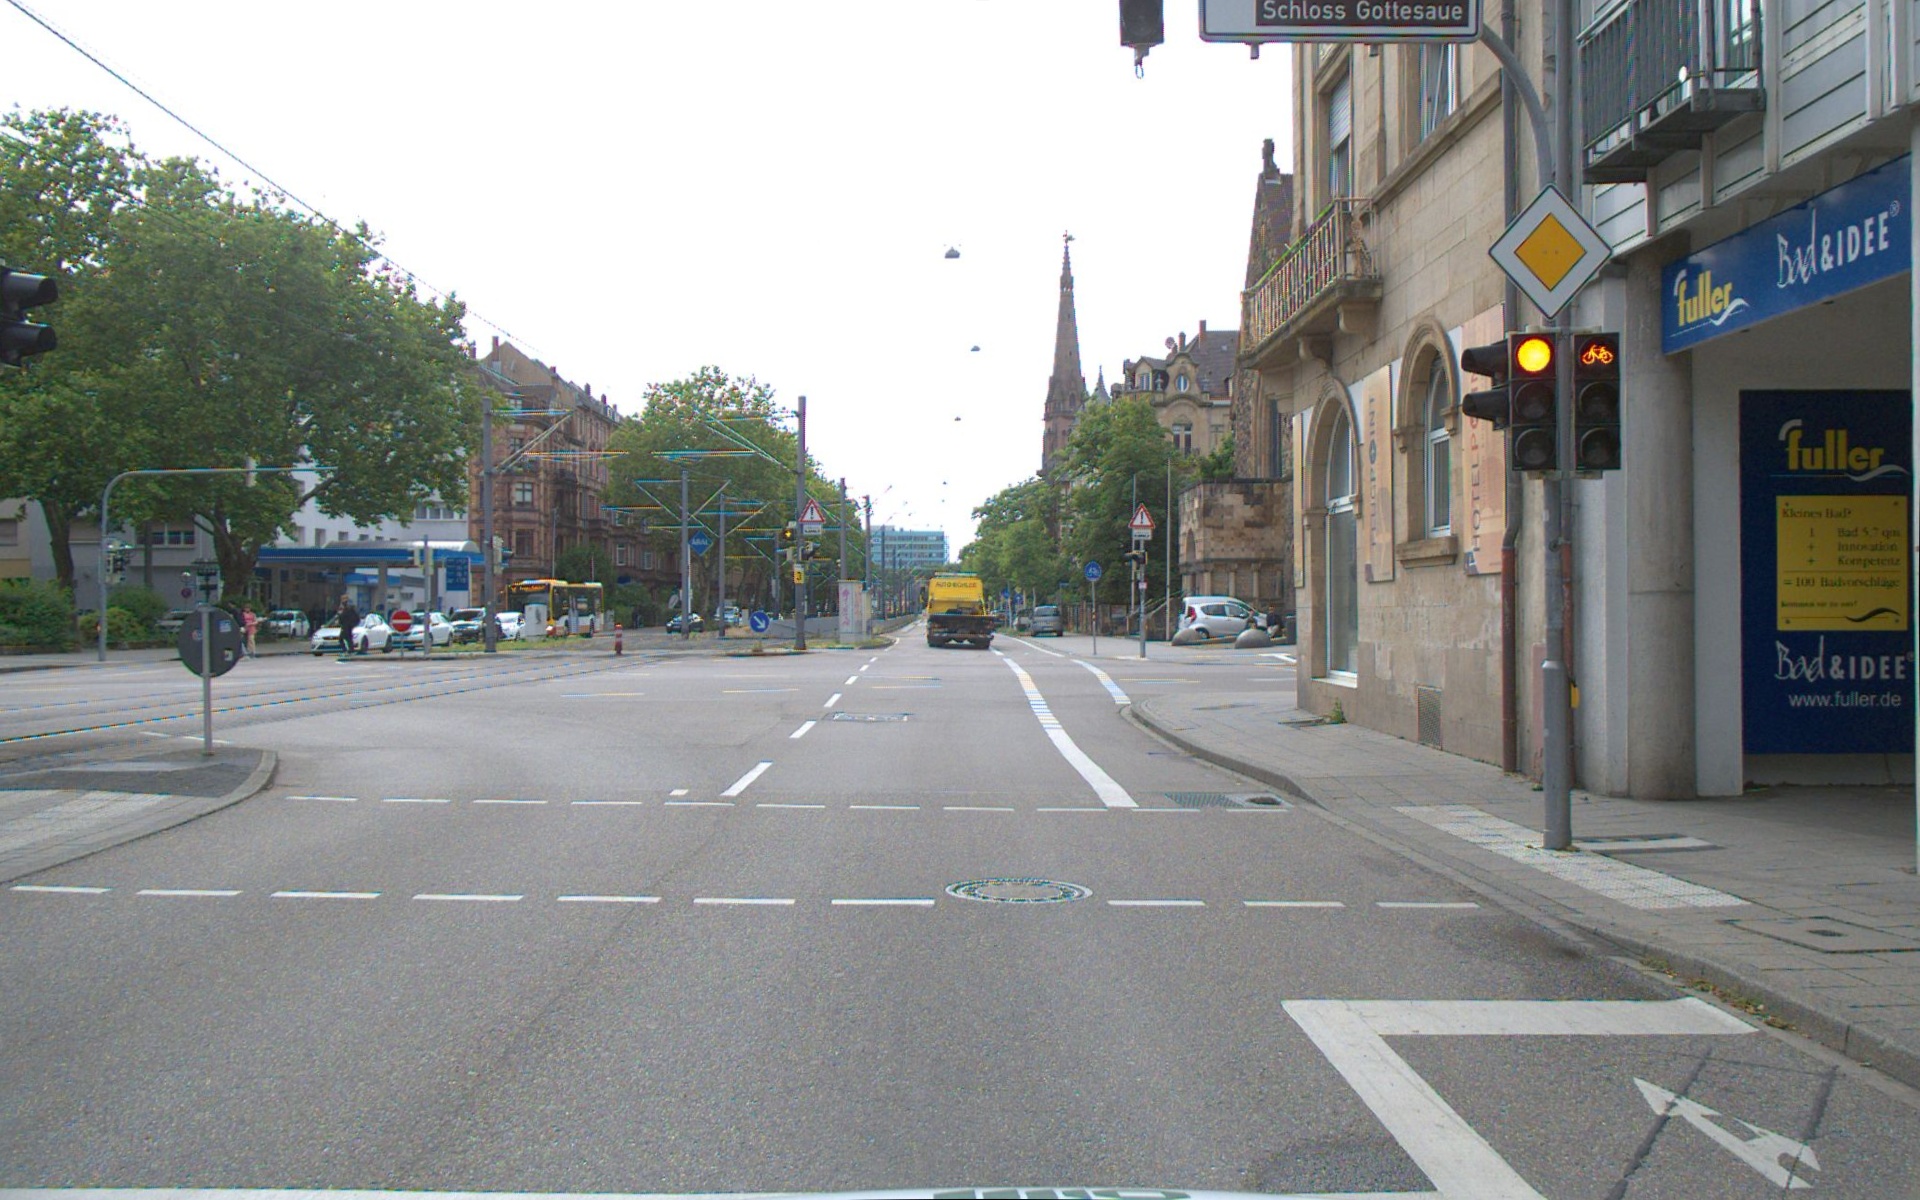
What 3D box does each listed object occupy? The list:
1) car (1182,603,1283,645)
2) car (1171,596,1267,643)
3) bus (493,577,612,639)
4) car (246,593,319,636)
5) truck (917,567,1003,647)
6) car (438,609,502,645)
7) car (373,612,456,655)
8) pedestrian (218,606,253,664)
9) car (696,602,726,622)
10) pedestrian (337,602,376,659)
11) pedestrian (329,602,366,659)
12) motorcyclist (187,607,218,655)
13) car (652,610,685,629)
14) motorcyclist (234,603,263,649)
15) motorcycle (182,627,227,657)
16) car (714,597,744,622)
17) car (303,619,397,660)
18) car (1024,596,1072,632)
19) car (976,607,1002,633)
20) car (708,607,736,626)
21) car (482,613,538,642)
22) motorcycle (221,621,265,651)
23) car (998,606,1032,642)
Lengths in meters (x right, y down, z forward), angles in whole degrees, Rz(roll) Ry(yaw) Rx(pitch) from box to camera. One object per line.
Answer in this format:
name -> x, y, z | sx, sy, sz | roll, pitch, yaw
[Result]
car -> 10.677, 0.932, 65.054 | 3.638, 1.591, 2.000 | 1, 0, -1
car -> 10.694, 0.801, 68.549 | 3.638, 1.888, 2.000 | 1, 0, -1
bus -> -21.944, 0.428, 89.889 | 3.164, 3.088, 12.312 | 1, 0, 1
car -> -32.870, 0.690, 80.374 | 1.953, 2.049, 3.999 | 0, 0, -1
truck -> -0.138, 0.253, 63.836 | 2.994, 2.817, 9.811 | 0, 0, -2
car -> -21.220, 1.142, 71.775 | 1.622, 1.504, 3.638 | 1, 0, 1
car -> -21.420, 1.290, 65.121 | 1.953, 1.622, 3.999 | 1, 0, -1
pedestrian -> -21.696, 1.041, 49.538 | 0.669, 1.720, 0.742 | 1, -1, 4
car -> -21.218, 1.034, 141.175 | 1.953, 1.639, 3.999 | 1, 0, -1
pedestrian -> -18.746, 0.931, 51.398 | 0.853, 1.743, 0.876 | 0, 0, 1
pedestrian -> -18.787, 0.937, 50.711 | 0.849, 1.743, 0.691 | 0, 0, 3
motorcyclist -> -24.675, 0.994, 53.901 | 0.607, 1.546, 0.873 | 0, 0, -1
car -> -21.213, 1.403, 120.446 | 1.622, 1.344, 3.638 | 1, 0, 1
motorcyclist -> -23.656, 0.859, 55.001 | 0.607, 1.546, 0.873 | 0, 0, -1
motorcycle -> -24.677, 1.371, 54.071 | 0.594, 0.945, 1.951 | 0, 0, 0
car -> -19.708, 0.811, 141.288 | 1.953, 2.049, 3.999 | 1, 0, -1
car -> -21.480, 1.366, 58.377 | 1.711, 1.344, 4.075 | 1, 0, 1
car -> 4.819, 0.779, 90.040 | 1.951, 1.888, 4.030 | 1, 0, 12
car -> 2.380, 1.640, 136.102 | 1.953, 2.049, 3.999 | 1, 0, -1
car -> -21.443, 1.457, 148.997 | 1.953, 1.639, 3.999 | 1, 0, -1
car -> -21.376, 1.288, 78.693 | 1.622, 1.344, 3.638 | 1, 0, 1
motorcycle -> -23.688, 1.169, 54.666 | 0.594, 0.945, 1.951 | 0, 0, 0
car -> 3.293, 1.429, 99.705 | 1.952, 2.049, 4.000 | 1, 0, 1
